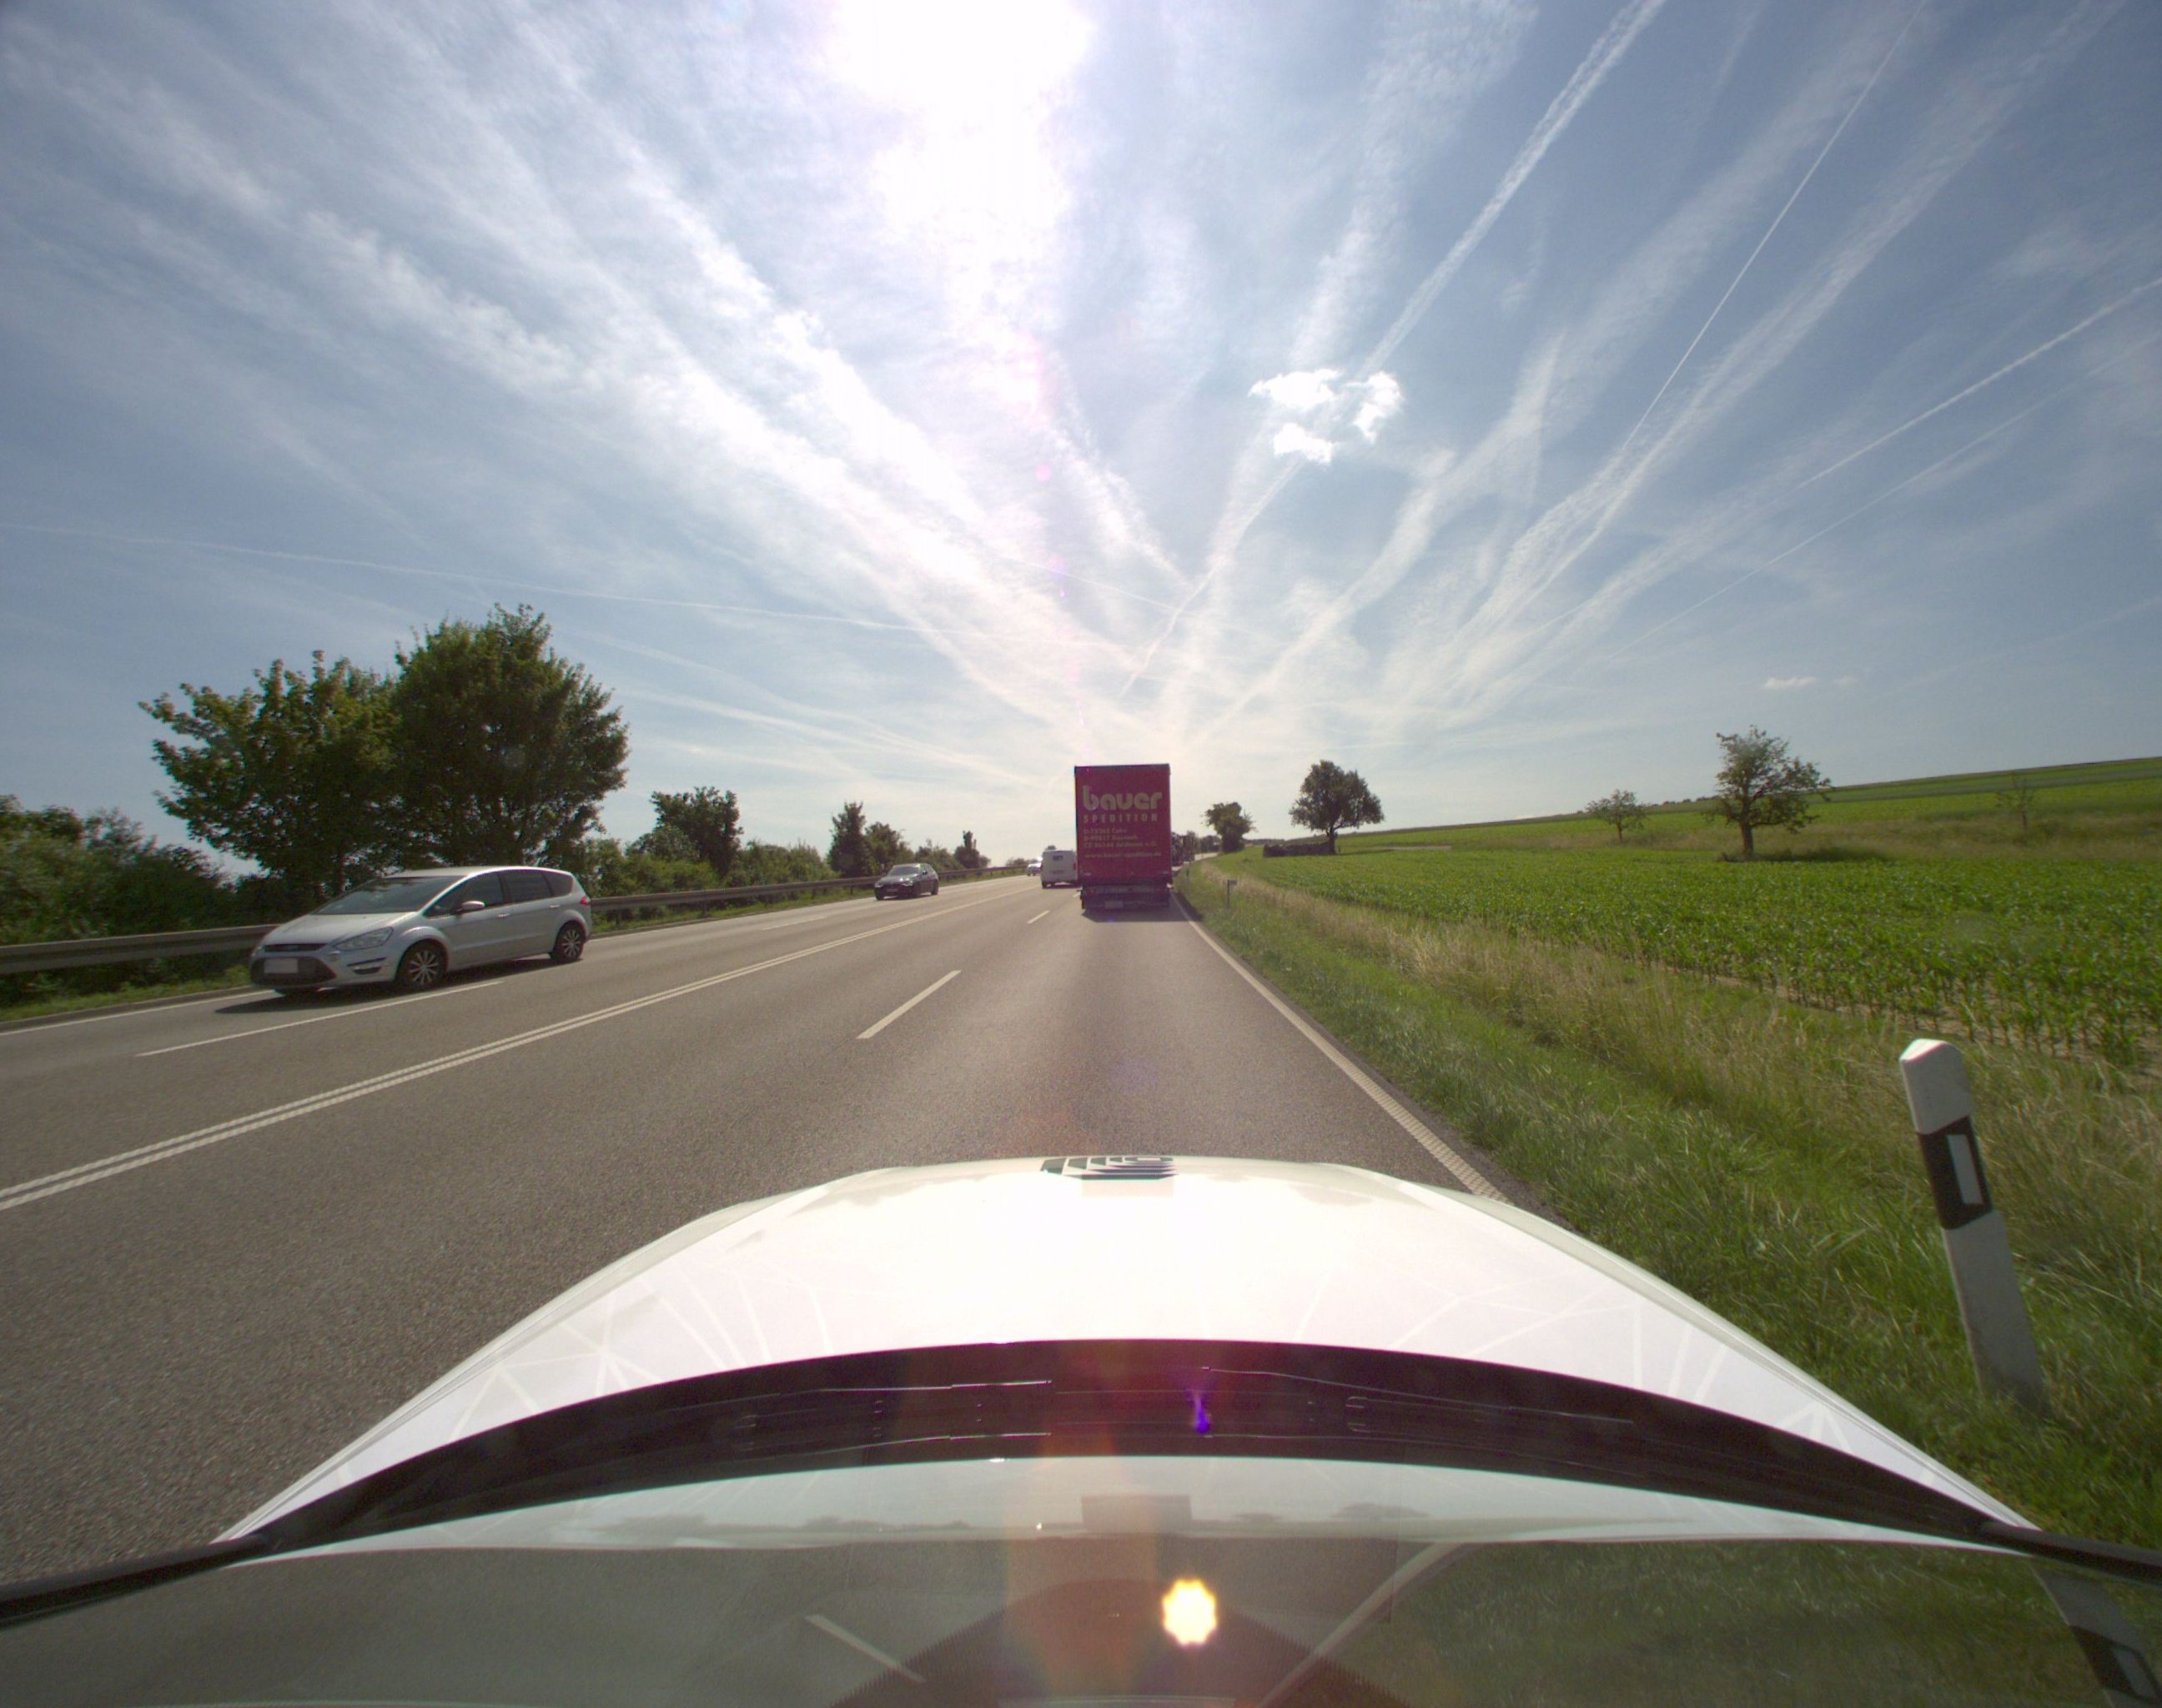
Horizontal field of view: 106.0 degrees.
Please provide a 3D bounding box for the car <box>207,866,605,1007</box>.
[{"bbox_3d":[-9.465,1.024,12.101,1.805,1.568,4.687,-2,0,3],"label":"car"}]

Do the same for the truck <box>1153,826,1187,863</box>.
[{"bbox_3d":[10.502,-1.053,95.039,3.029,3.910,15.655,-2,0,9],"label":"truck"}]

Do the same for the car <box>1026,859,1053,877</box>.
[{"bbox_3d":[-3.531,1.183,69.809,1.649,1.457,3.740,-2,0,6],"label":"car"}]

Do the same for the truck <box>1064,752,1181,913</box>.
[{"bbox_3d":[1.641,-0.555,29.702,2.994,4.180,16.730,-1,0,4],"label":"truck"}]

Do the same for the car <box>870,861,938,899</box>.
[{"bbox_3d":[-7.510,1.057,34.877,1.710,1.461,4.219,-2,0,3],"label":"car"}]

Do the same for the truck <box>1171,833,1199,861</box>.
[{"bbox_3d":[16.555,-1.074,128.486,3.028,3.910,18.452,-2,0,11],"label":"truck"}]

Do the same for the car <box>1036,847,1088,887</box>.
[{"bbox_3d":[-0.899,0.656,42.265,1.895,1.884,5.442,-2,0,7],"label":"car"}]
